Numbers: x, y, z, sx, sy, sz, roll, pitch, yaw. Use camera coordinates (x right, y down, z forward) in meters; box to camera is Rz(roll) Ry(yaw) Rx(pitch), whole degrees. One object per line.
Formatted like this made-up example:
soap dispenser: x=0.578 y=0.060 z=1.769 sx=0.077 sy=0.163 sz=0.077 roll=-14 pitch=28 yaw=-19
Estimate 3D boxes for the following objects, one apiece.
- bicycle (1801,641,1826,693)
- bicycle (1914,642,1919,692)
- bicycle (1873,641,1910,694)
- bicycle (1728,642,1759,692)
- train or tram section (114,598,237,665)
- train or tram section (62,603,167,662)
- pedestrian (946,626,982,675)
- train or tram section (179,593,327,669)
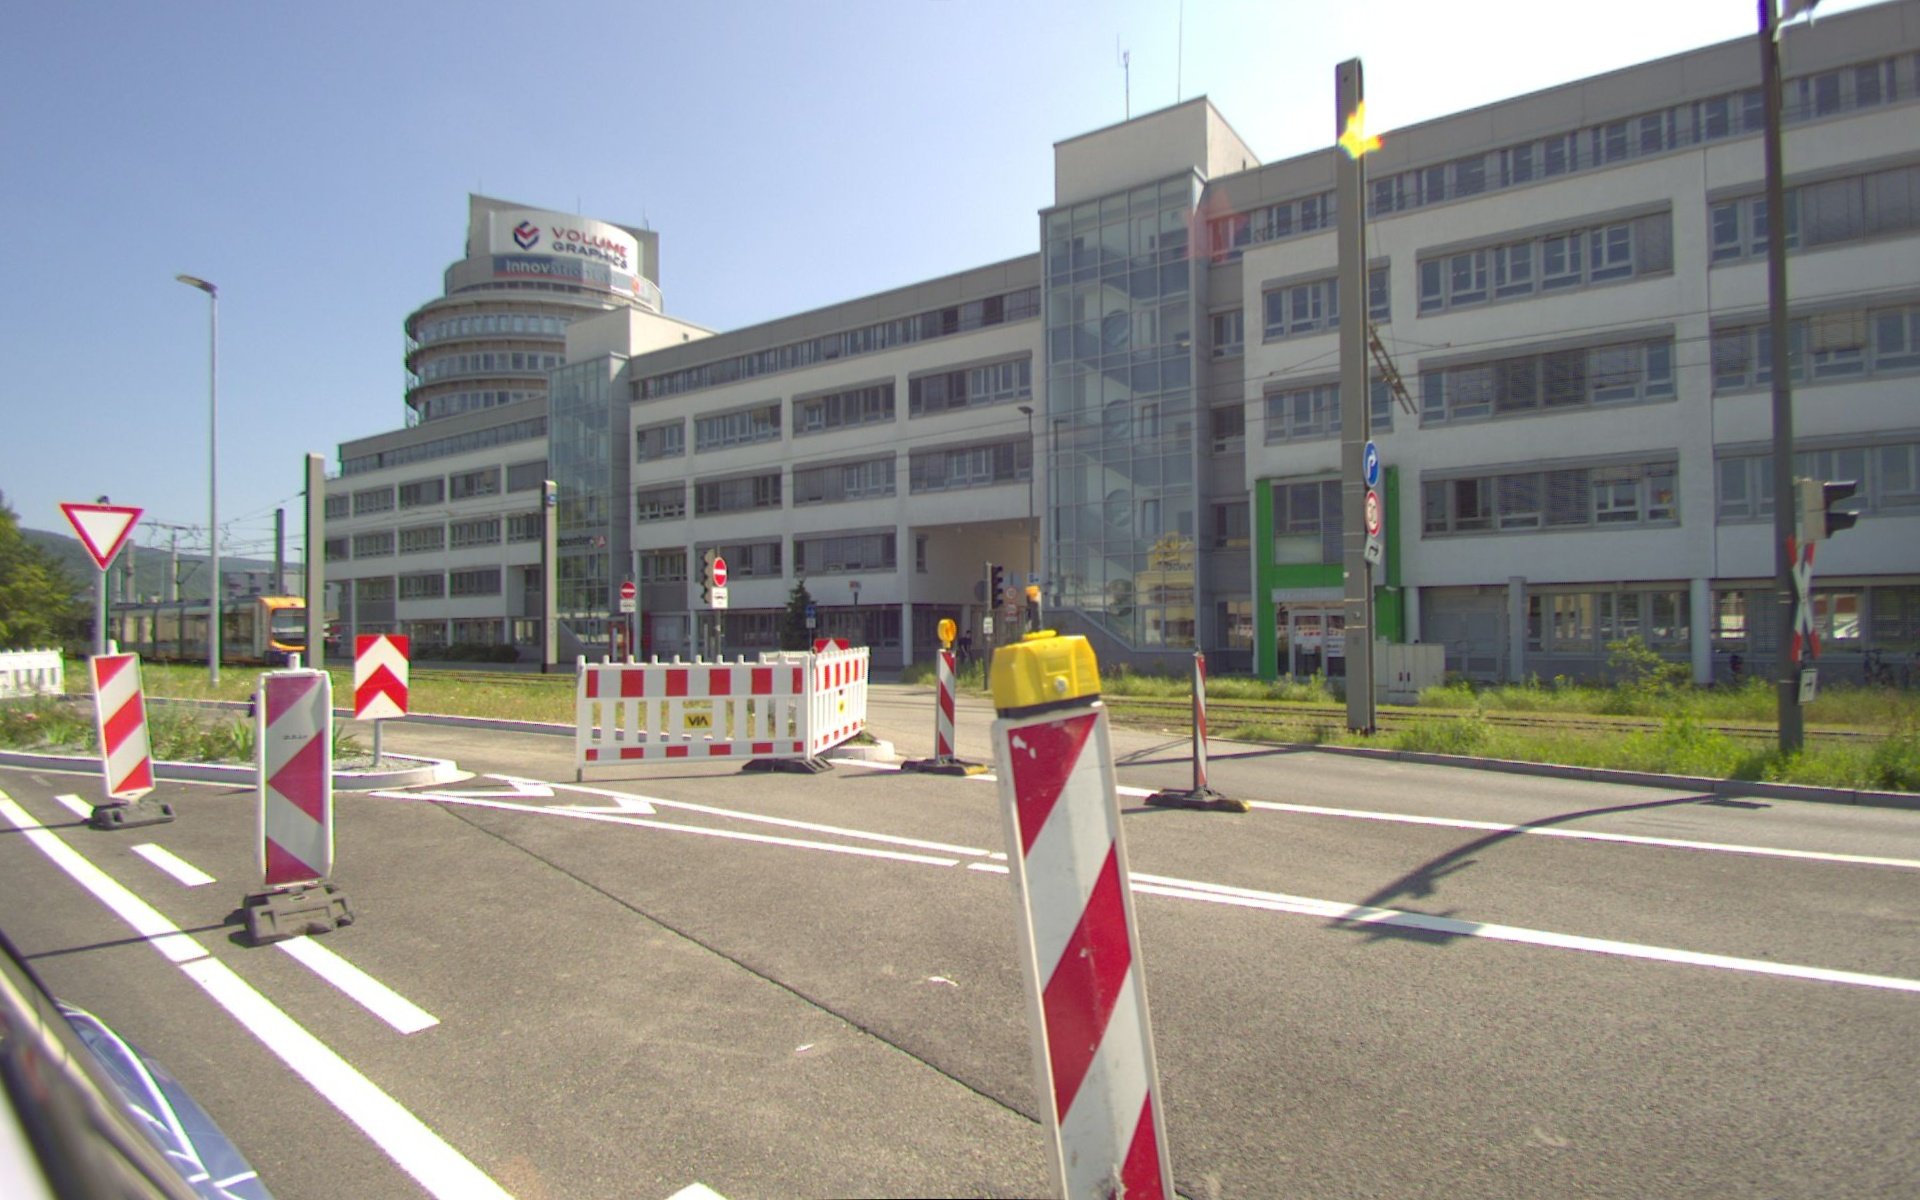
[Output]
bicycle: x=21.734 y=1.681 z=25.779 sx=0.438 sy=1.198 sz=1.630 roll=-2 pitch=0 yaw=40
bicycle: x=23.425 y=1.653 z=24.327 sx=0.437 sy=1.198 sz=1.632 roll=-2 pitch=0 yaw=35
bicycle: x=22.871 y=1.640 z=24.856 sx=0.437 sy=1.198 sz=1.632 roll=-2 pitch=0 yaw=36
bicycle: x=20.490 y=1.726 z=26.456 sx=0.521 sy=1.198 sz=1.630 roll=-2 pitch=0 yaw=40
train or tram section: x=-45.214 y=1.797 z=58.121 sx=11.760 sy=3.477 sz=2.601 roll=-2 pitch=0 yaw=37
train or tram section: x=-54.589 y=2.064 z=65.200 sx=11.760 sy=3.477 sz=2.601 roll=-2 pitch=0 yaw=37
pedestrian: x=0.142 y=1.967 z=39.363 sx=1.106 sy=1.840 sz=0.759 roll=-3 pitch=0 yaw=35
train or tram section: x=-35.837 y=1.526 z=51.024 sx=11.760 sy=3.477 sz=2.601 roll=-2 pitch=0 yaw=37
